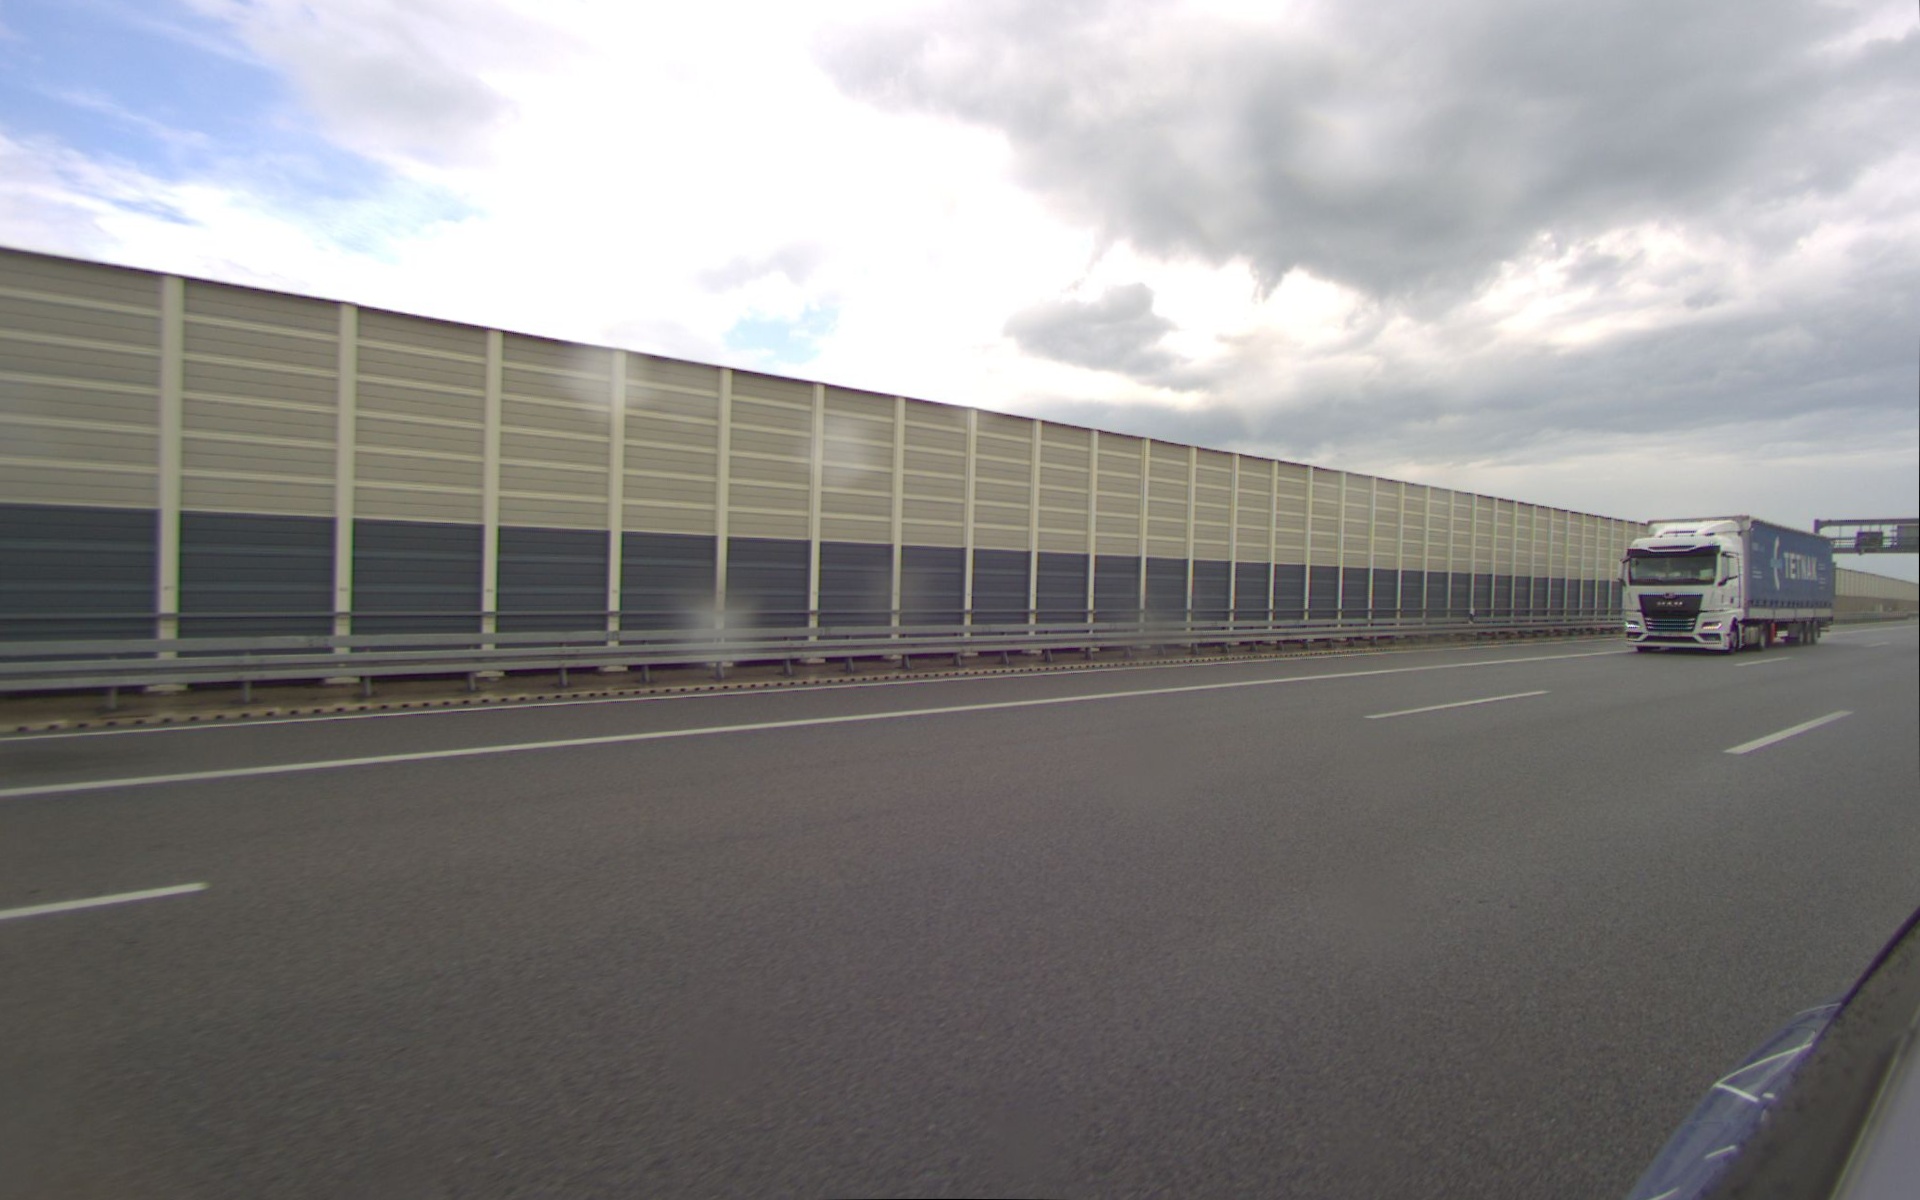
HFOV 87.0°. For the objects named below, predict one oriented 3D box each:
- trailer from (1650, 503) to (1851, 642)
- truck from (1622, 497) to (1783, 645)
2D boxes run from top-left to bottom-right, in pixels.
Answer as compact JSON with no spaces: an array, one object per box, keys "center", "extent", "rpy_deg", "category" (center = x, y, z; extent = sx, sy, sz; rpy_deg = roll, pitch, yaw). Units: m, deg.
[{"center":[28.065,-0.787,35.468],"extent":[14.197,4.082,2.766],"rpy_deg":[0,0,-41],"category":"trailer"},{"center":[22.771,-0.816,30.962],"extent":[5.625,4.086,2.750],"rpy_deg":[1,0,-40],"category":"truck"}]
